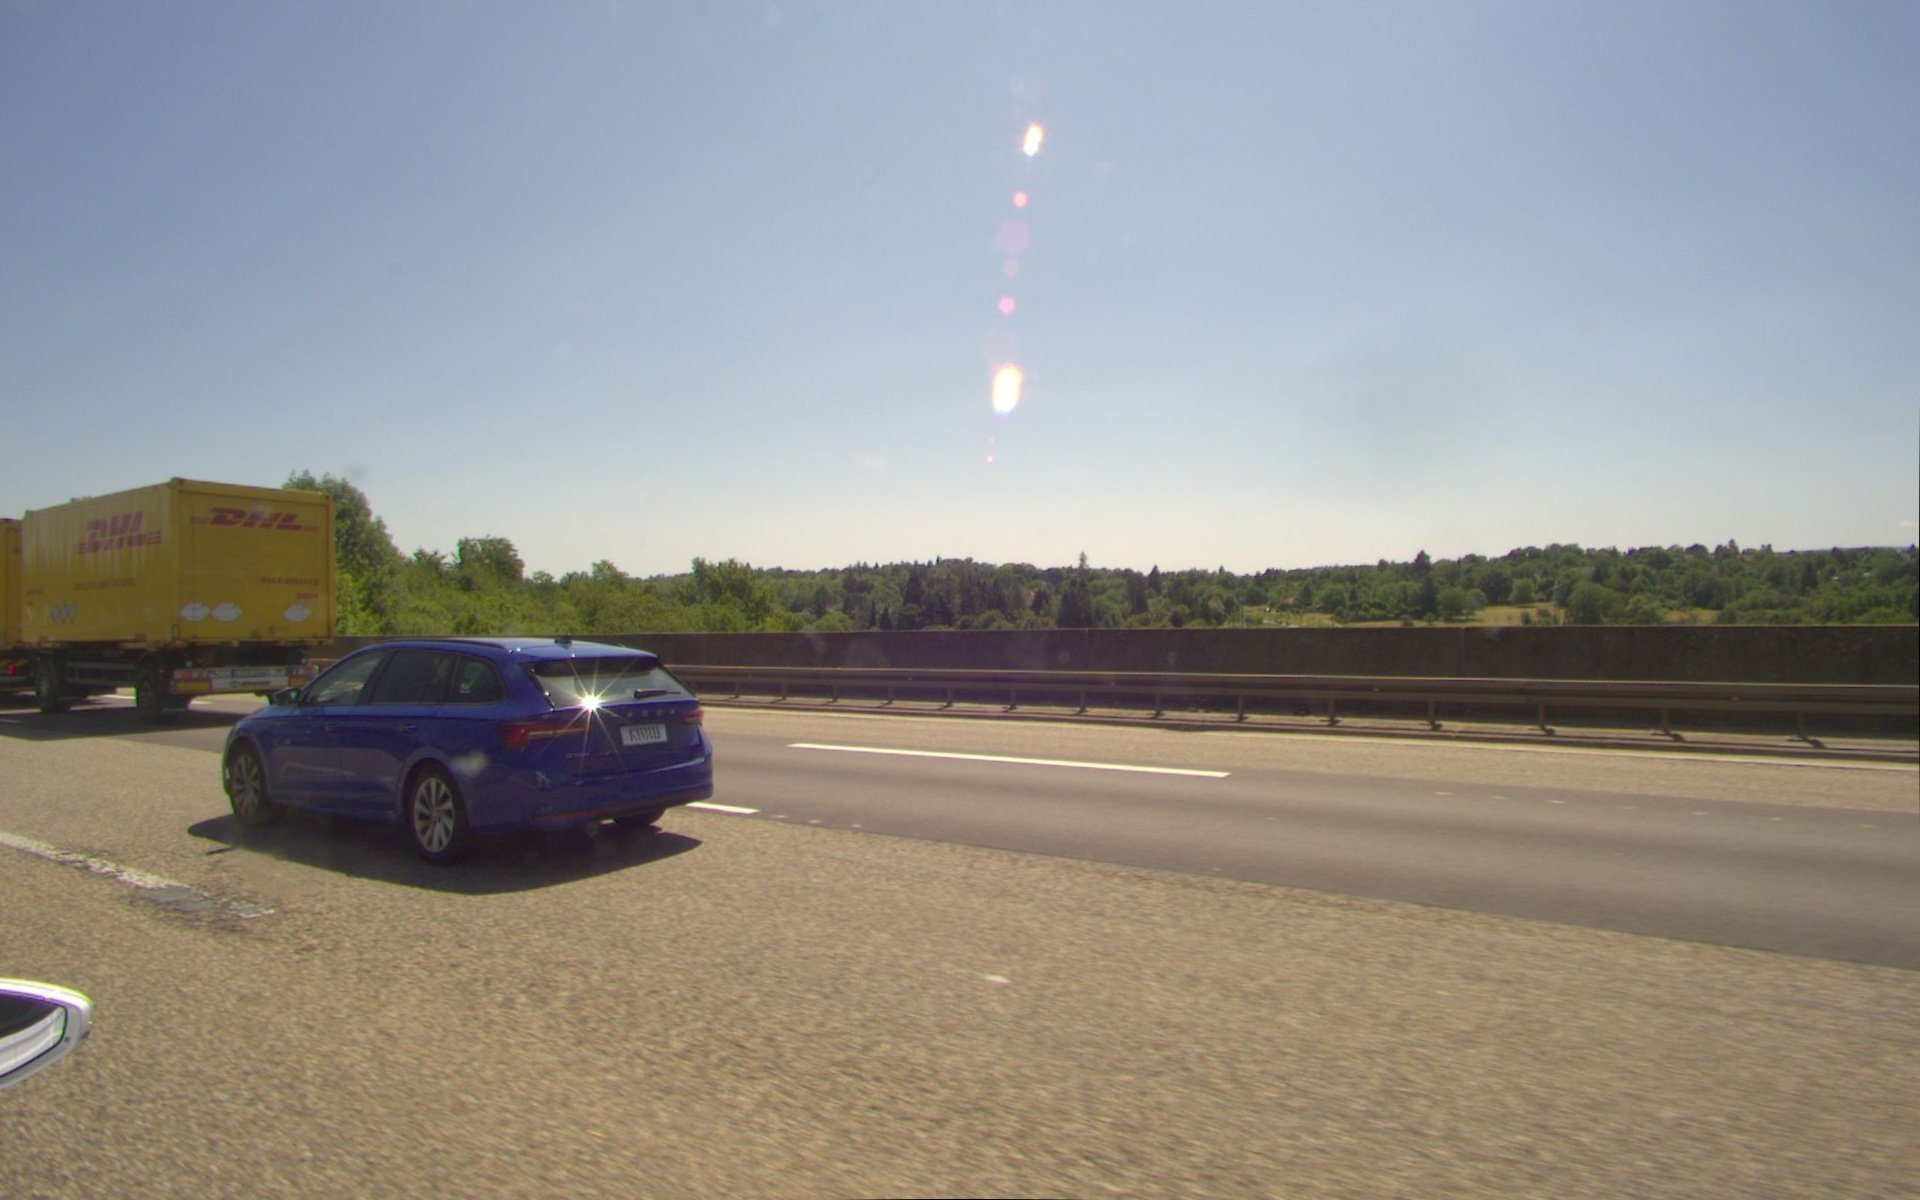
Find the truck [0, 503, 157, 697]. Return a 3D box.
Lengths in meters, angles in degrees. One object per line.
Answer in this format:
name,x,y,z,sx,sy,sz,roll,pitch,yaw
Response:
truck,-23.812,0.199,25.022,10.191,4.105,2.717,-2,-2,33

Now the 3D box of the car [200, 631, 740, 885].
car,-3.906,0.979,7.712,4.437,1.459,1.706,-1,-2,33

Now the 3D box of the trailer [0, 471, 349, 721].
trailer,-15.809,0.106,19.885,8.805,4.074,2.697,-2,-2,33
